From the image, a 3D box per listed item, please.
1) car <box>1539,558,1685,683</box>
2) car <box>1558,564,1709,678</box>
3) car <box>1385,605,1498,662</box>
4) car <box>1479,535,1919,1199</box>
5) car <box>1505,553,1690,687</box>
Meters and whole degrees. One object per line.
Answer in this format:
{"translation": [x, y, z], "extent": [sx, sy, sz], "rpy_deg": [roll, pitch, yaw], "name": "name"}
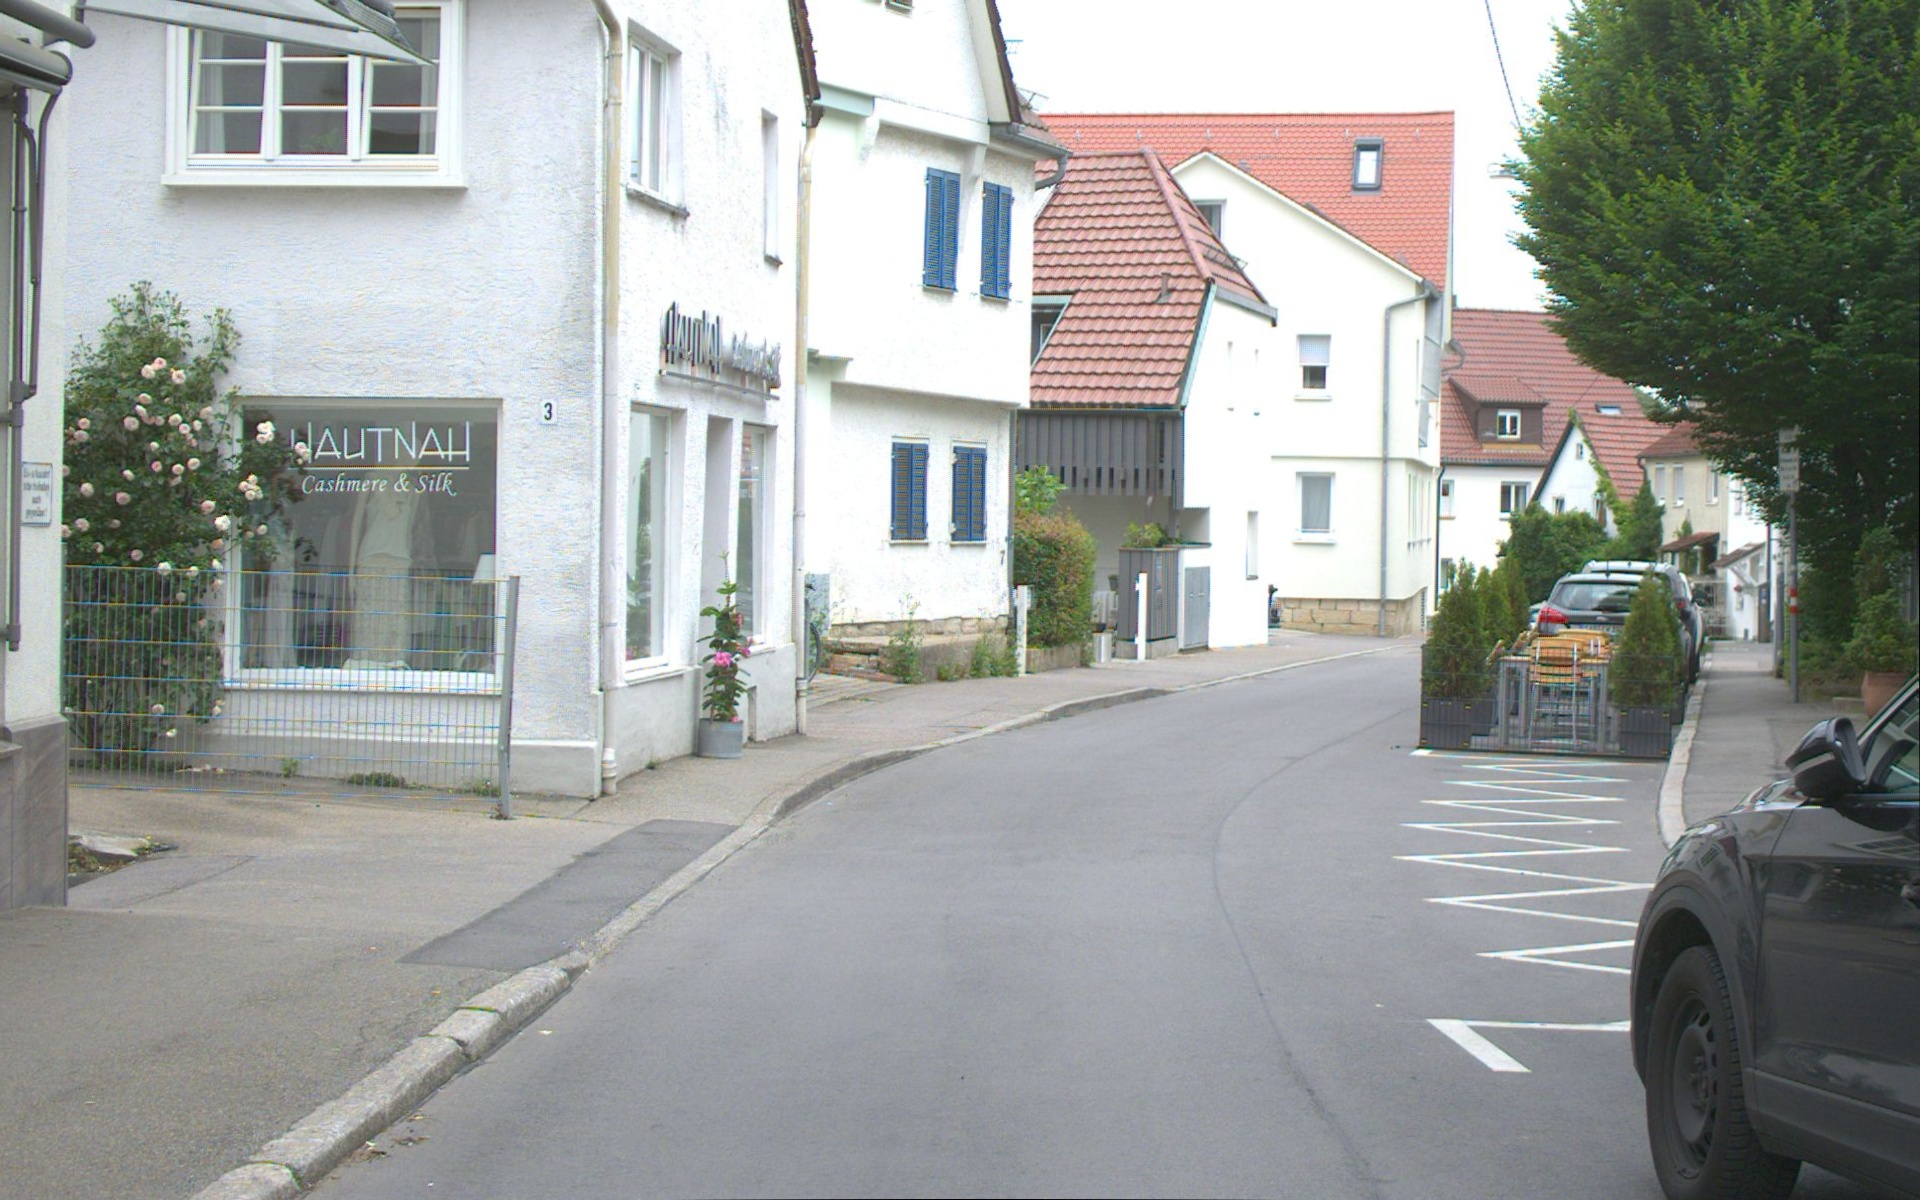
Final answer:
{"translation": [9.225, 0.263, 48.420], "extent": [1.864, 1.627, 4.899], "rpy_deg": [2, 0, 12], "name": "car"}
{"translation": [10.640, 0.290, 54.091], "extent": [1.995, 1.610, 4.875], "rpy_deg": [3, 1, 14], "name": "car"}
{"translation": [16.493, 1.169, 118.011], "extent": [1.993, 1.678, 4.000], "rpy_deg": [-4, -1, -22], "name": "car"}
{"translation": [2.626, 0.702, 7.016], "extent": [1.787, 1.595, 4.543], "rpy_deg": [2, 1, -9], "name": "car"}
{"translation": [7.954, 0.208, 42.577], "extent": [1.949, 1.502, 4.817], "rpy_deg": [2, 1, 14], "name": "car"}
